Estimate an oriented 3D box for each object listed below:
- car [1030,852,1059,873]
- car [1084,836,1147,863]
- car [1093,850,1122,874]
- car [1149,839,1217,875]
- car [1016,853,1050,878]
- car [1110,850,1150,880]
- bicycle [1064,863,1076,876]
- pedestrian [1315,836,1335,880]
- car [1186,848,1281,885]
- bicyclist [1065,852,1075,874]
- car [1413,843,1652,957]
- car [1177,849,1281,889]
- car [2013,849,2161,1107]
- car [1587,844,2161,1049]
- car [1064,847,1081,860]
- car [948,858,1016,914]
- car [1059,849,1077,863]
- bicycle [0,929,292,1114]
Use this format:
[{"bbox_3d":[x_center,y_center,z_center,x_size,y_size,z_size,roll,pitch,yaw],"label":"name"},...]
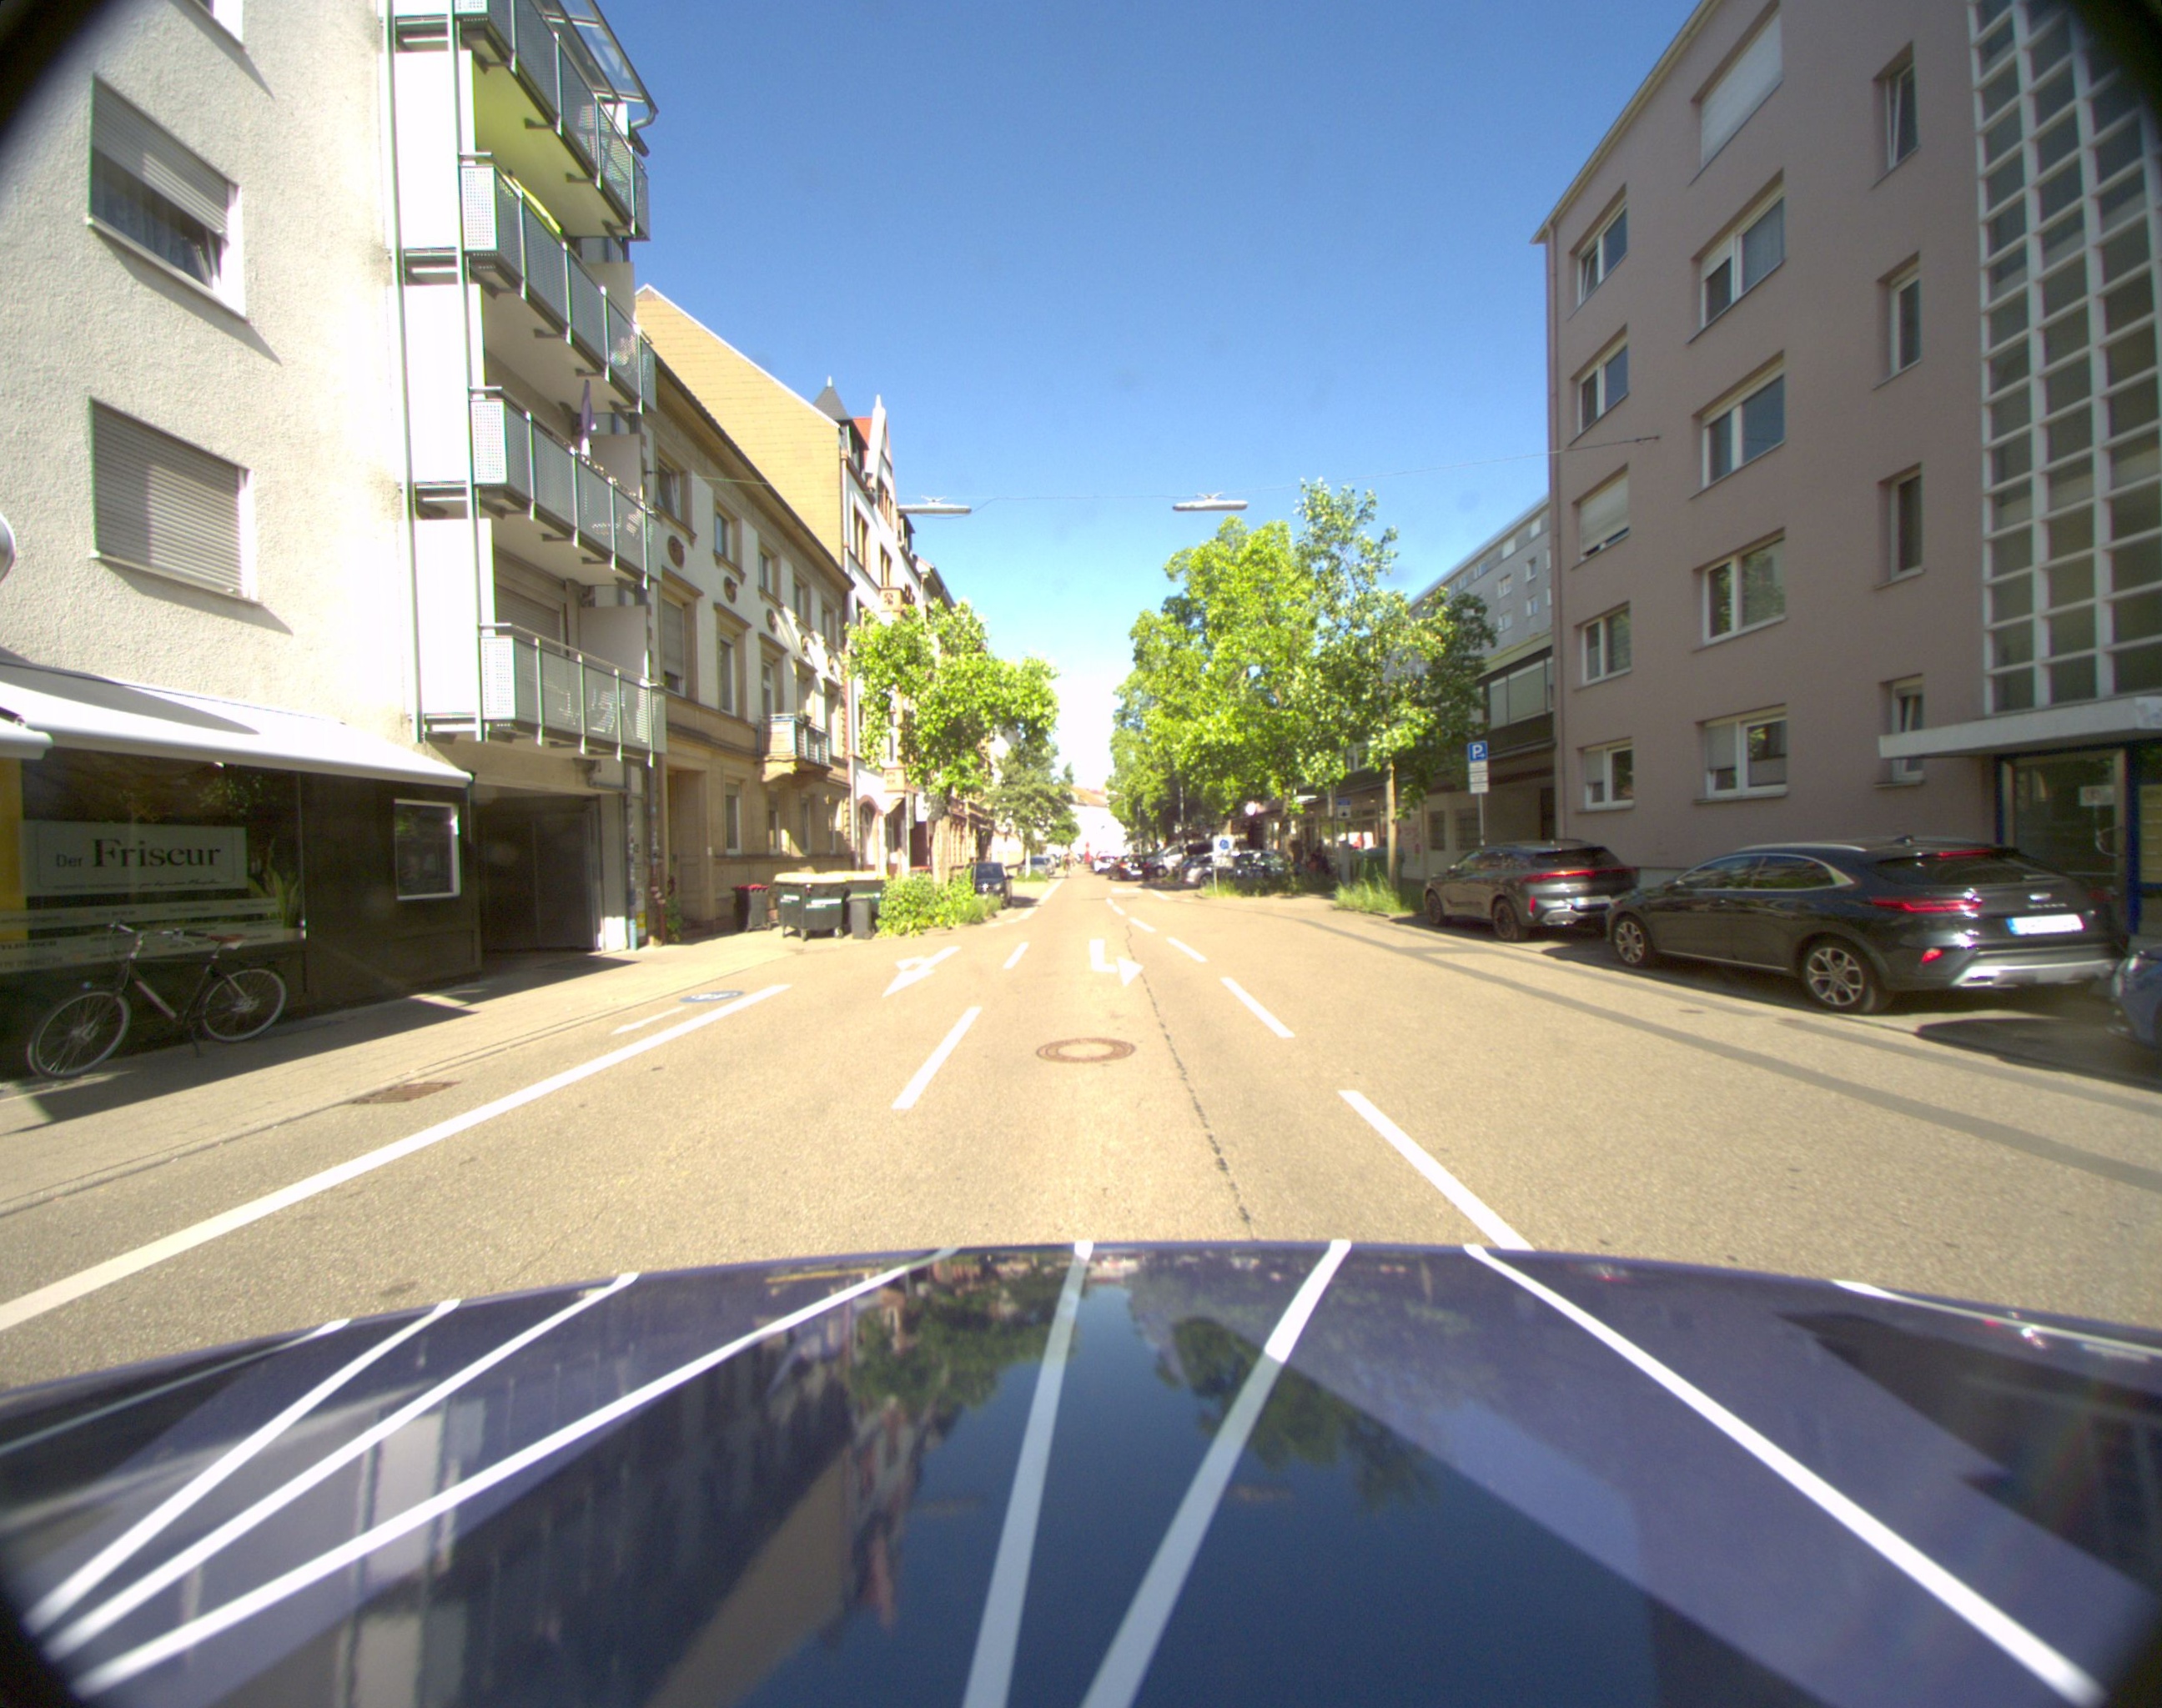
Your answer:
[{"bbox_3d":[-2.665,0.607,56.558,1.914,1.444,3.547,-2,0,1],"label":"car"},{"bbox_3d":[3.281,-0.431,72.258,5.565,2.379,1.975,-2,1,-16],"label":"car"},{"bbox_3d":[1.840,0.520,53.536,1.911,1.543,4.000,-2,0,0],"label":"car"},{"bbox_3d":[6.117,0.198,45.841,3.875,2.031,1.913,-2,1,3],"label":"car"},{"bbox_3d":[-2.902,0.682,46.657,1.914,1.444,3.546,-2,0,-1],"label":"car"},{"bbox_3d":[2.636,0.558,41.831,1.911,1.543,4.000,-2,0,0],"label":"car"},{"bbox_3d":[-0.723,0.982,49.832,0.582,0.801,1.710,-2,0,6],"label":"bicycle"},{"bbox_3d":[10.131,0.153,31.587,0.623,1.796,0.502,-2,1,2],"label":"pedestrian"},{"bbox_3d":[6.944,0.543,34.836,3.996,1.543,1.913,-2,1,3],"label":"car"},{"bbox_3d":[-0.730,0.589,49.840,0.582,1.369,0.665,-2,1,5],"label":"bicyclist"},{"bbox_3d":[7.526,0.657,13.206,1.727,1.567,4.158,-4,0,2],"label":"car"},{"bbox_3d":[6.078,0.605,31.638,3.996,1.543,1.913,-2,1,3],"label":"car"},{"bbox_3d":[7.396,0.728,2.855,1.828,1.494,4.801,-4,0,-1],"label":"car"},{"bbox_3d":[7.467,0.696,7.865,1.727,1.459,4.158,-4,0,2],"label":"car"},{"bbox_3d":[-0.998,-0.044,87.081,1.713,1.444,3.547,-2,0,2],"label":"car"},{"bbox_3d":[-3.081,0.950,24.249,1.627,1.587,3.546,-2,0,1],"label":"car"},{"bbox_3d":[-1.344,0.169,80.265,1.713,1.444,3.547,-2,0,2],"label":"car"},{"bbox_3d":[-7.822,1.292,6.345,0.598,1.137,1.774,1,0,1],"label":"bicycle"}]
